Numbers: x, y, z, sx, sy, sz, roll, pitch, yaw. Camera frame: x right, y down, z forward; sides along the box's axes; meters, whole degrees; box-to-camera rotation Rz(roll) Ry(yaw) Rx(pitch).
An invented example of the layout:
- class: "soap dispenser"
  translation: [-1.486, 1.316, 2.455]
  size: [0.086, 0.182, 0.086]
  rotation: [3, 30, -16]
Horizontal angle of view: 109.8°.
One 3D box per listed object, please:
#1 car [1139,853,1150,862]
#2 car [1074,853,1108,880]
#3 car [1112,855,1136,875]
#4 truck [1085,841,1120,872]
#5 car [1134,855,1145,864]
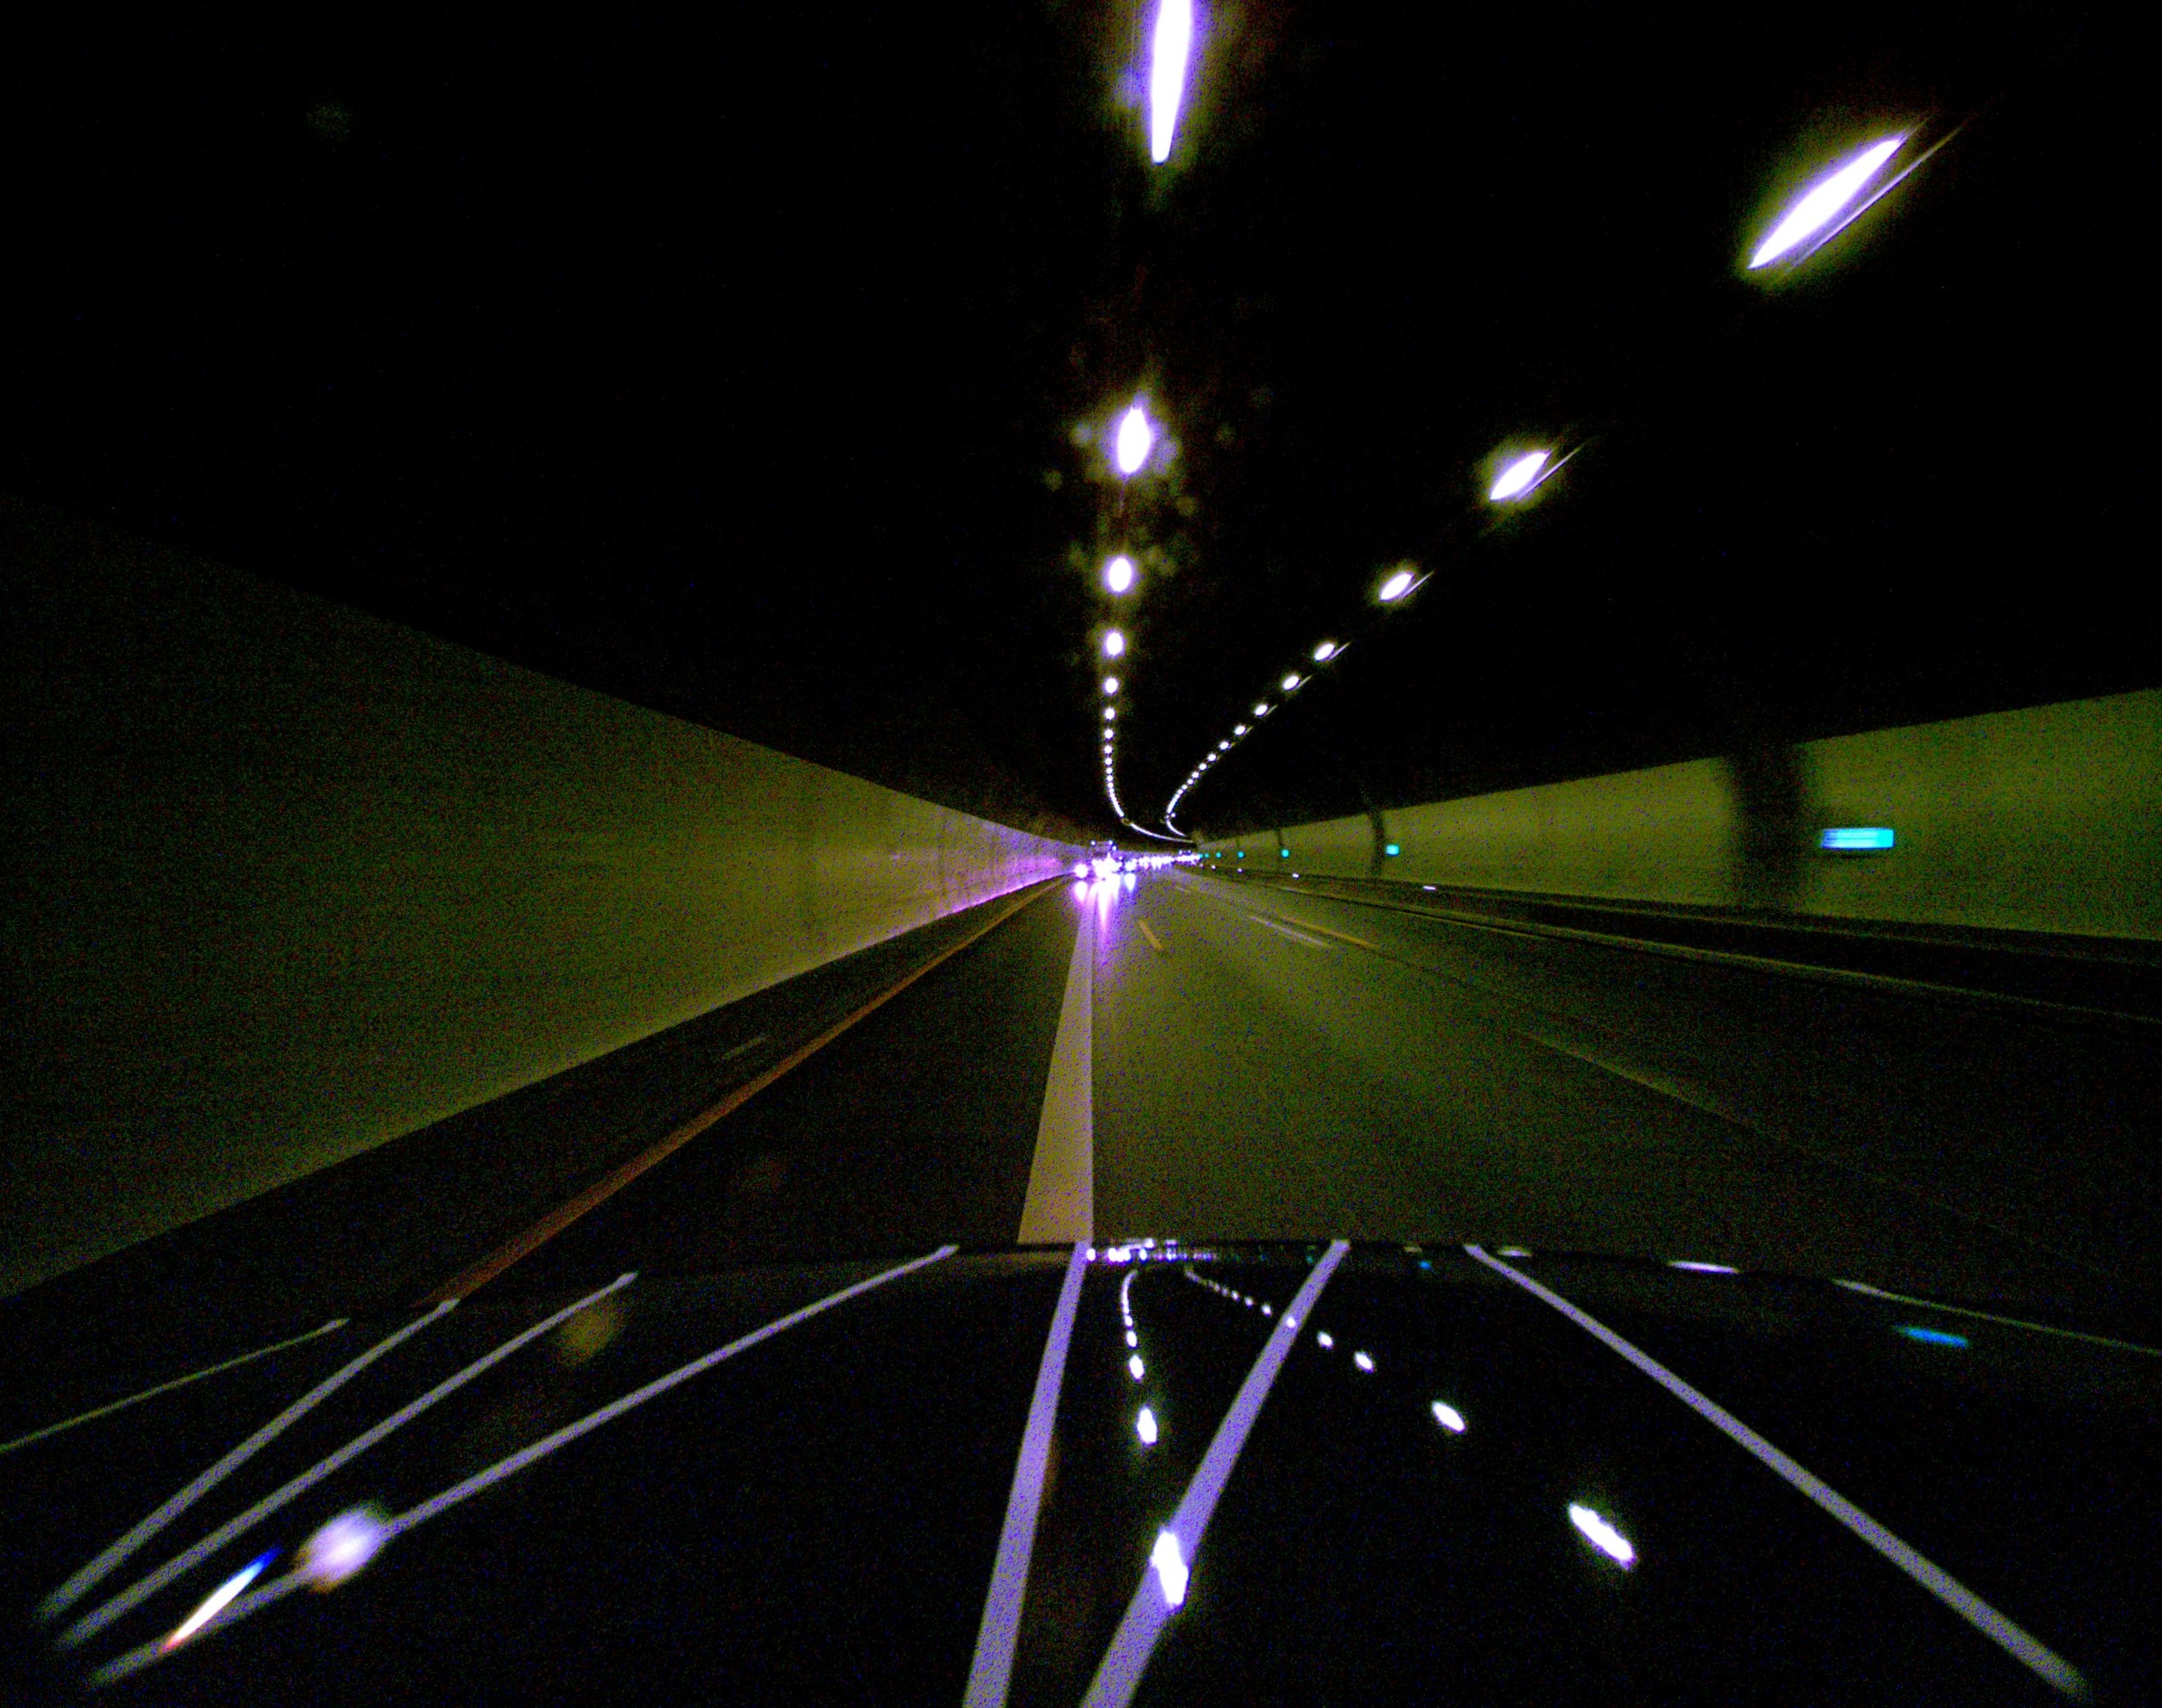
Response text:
- class: "car"
  translation: [15.328, 0.842, 183.191]
  size: [1.996, 1.917, 4.389]
  rotation: [-2, 0, 13]
- class: "car"
  translation: [0.681, 0.826, 51.590]
  size: [2.171, 1.709, 4.482]
  rotation: [-2, 0, 1]
- class: "car"
  translation: [3.949, 0.992, 68.691]
  size: [1.998, 1.655, 4.001]
  rotation: [-3, 0, 5]
- class: "truck"
  translation: [2.500, 0.243, 84.125]
  size: [2.987, 3.161, 10.513]
  rotation: [-2, 0, 6]
- class: "car"
  translation: [12.853, 1.131, 166.562]
  size: [1.997, 1.892, 4.003]
  rotation: [-2, 0, 9]
